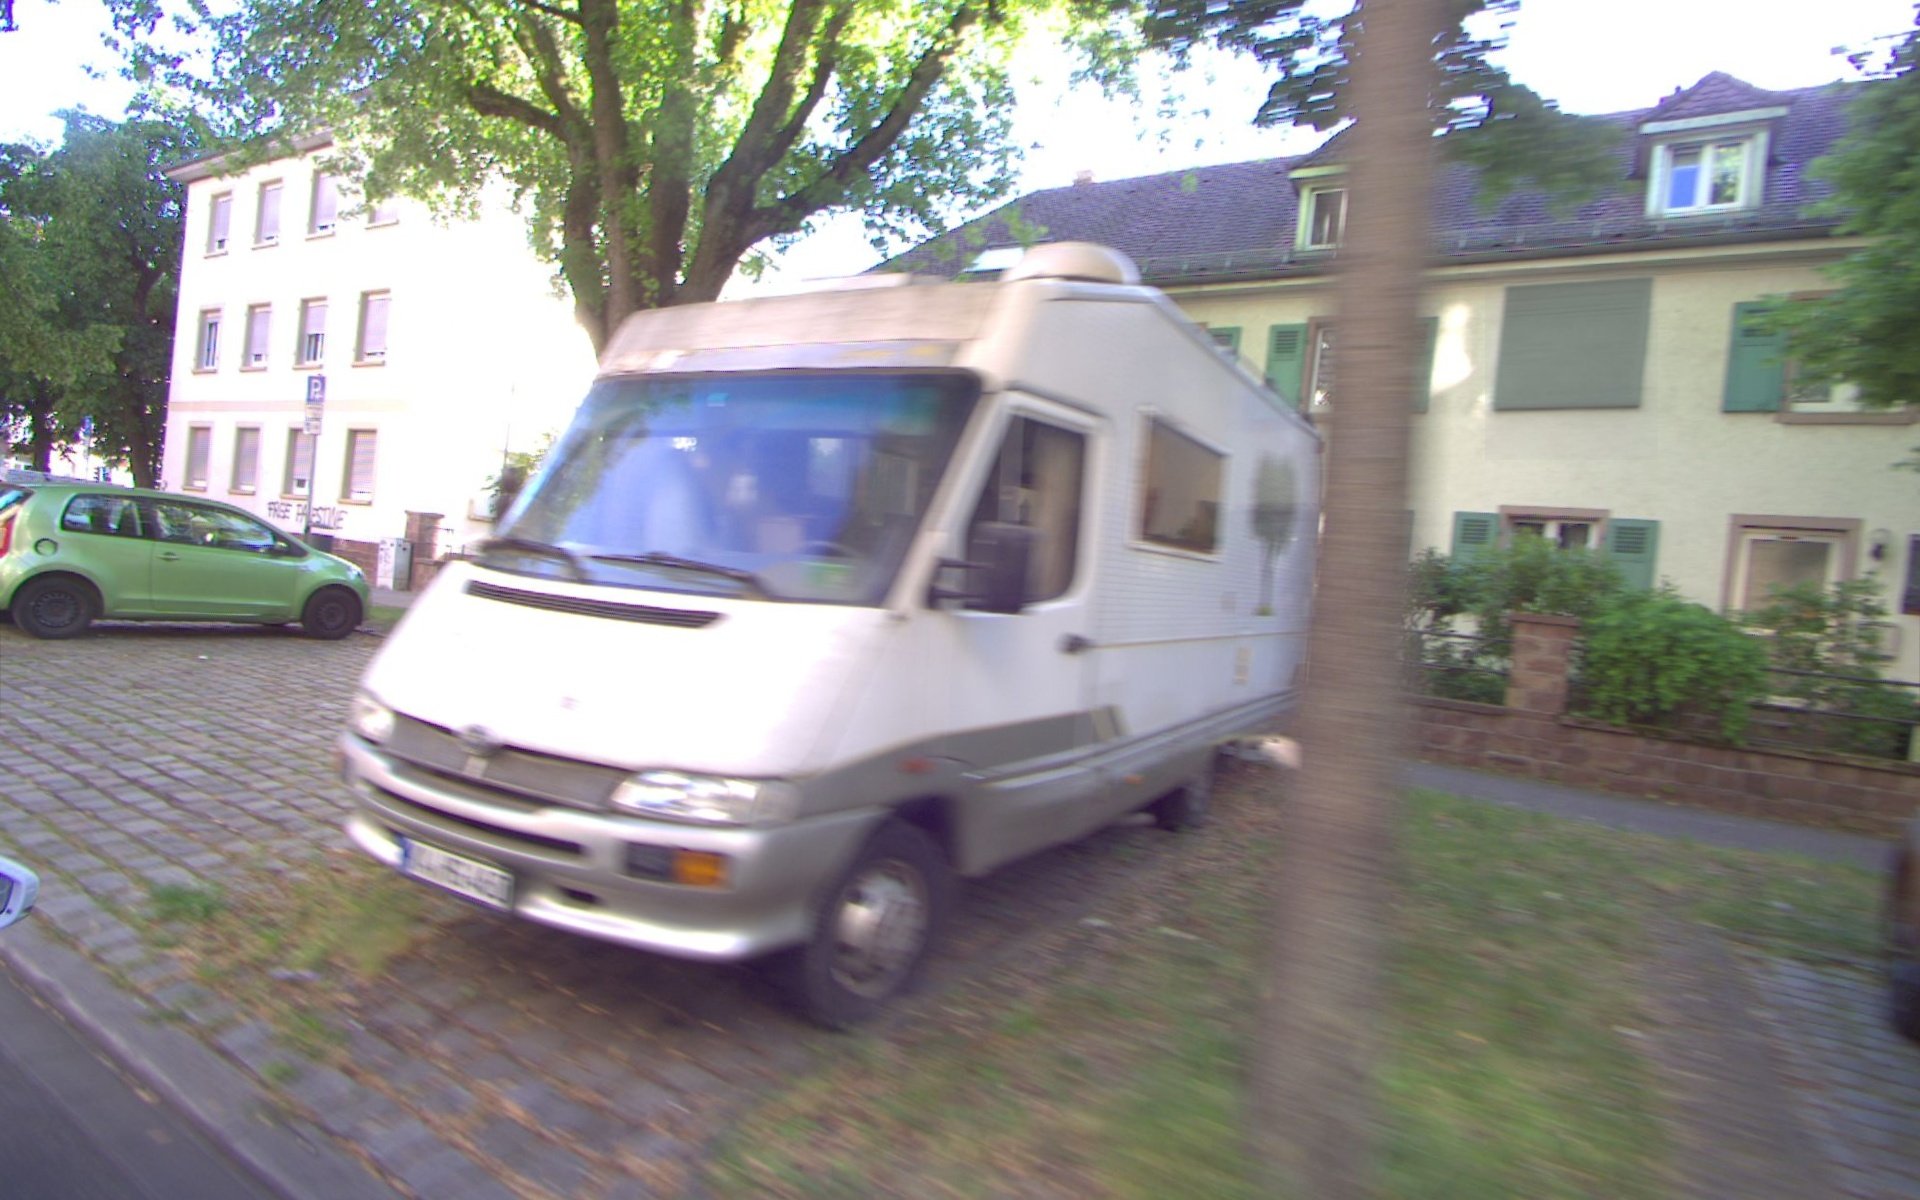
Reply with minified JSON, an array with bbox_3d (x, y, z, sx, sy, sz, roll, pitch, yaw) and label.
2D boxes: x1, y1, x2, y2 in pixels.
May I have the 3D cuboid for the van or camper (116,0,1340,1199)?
[{"bbox_3d":[0.177,-0.108,5.733,2.423,3.116,7.087,7,0,29],"label":"van or camper"}]

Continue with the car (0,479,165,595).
[{"bbox_3d":[-13.103,-0.908,12.964,1.763,1.431,4.104,7,2,32],"label":"car"}]

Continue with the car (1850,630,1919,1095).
[{"bbox_3d":[3.850,0.979,2.458,1.873,1.620,3.959,6,2,34],"label":"car"}]

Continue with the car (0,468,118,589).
[{"bbox_3d":[-15.058,-1.208,14.813,1.677,1.671,3.694,7,0,35],"label":"car"}]

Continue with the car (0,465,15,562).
[{"bbox_3d":[-19.045,-1.751,16.921,1.989,1.735,4.112,8,1,27],"label":"car"}]

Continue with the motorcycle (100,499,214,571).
[{"bbox_3d":[-17.484,-1.406,21.909,2.143,1.296,0.977,7,1,24],"label":"motorcycle"}]

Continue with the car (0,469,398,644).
[{"bbox_3d":[-8.321,-0.408,10.779,1.650,1.525,3.590,8,2,32],"label":"car"}]
